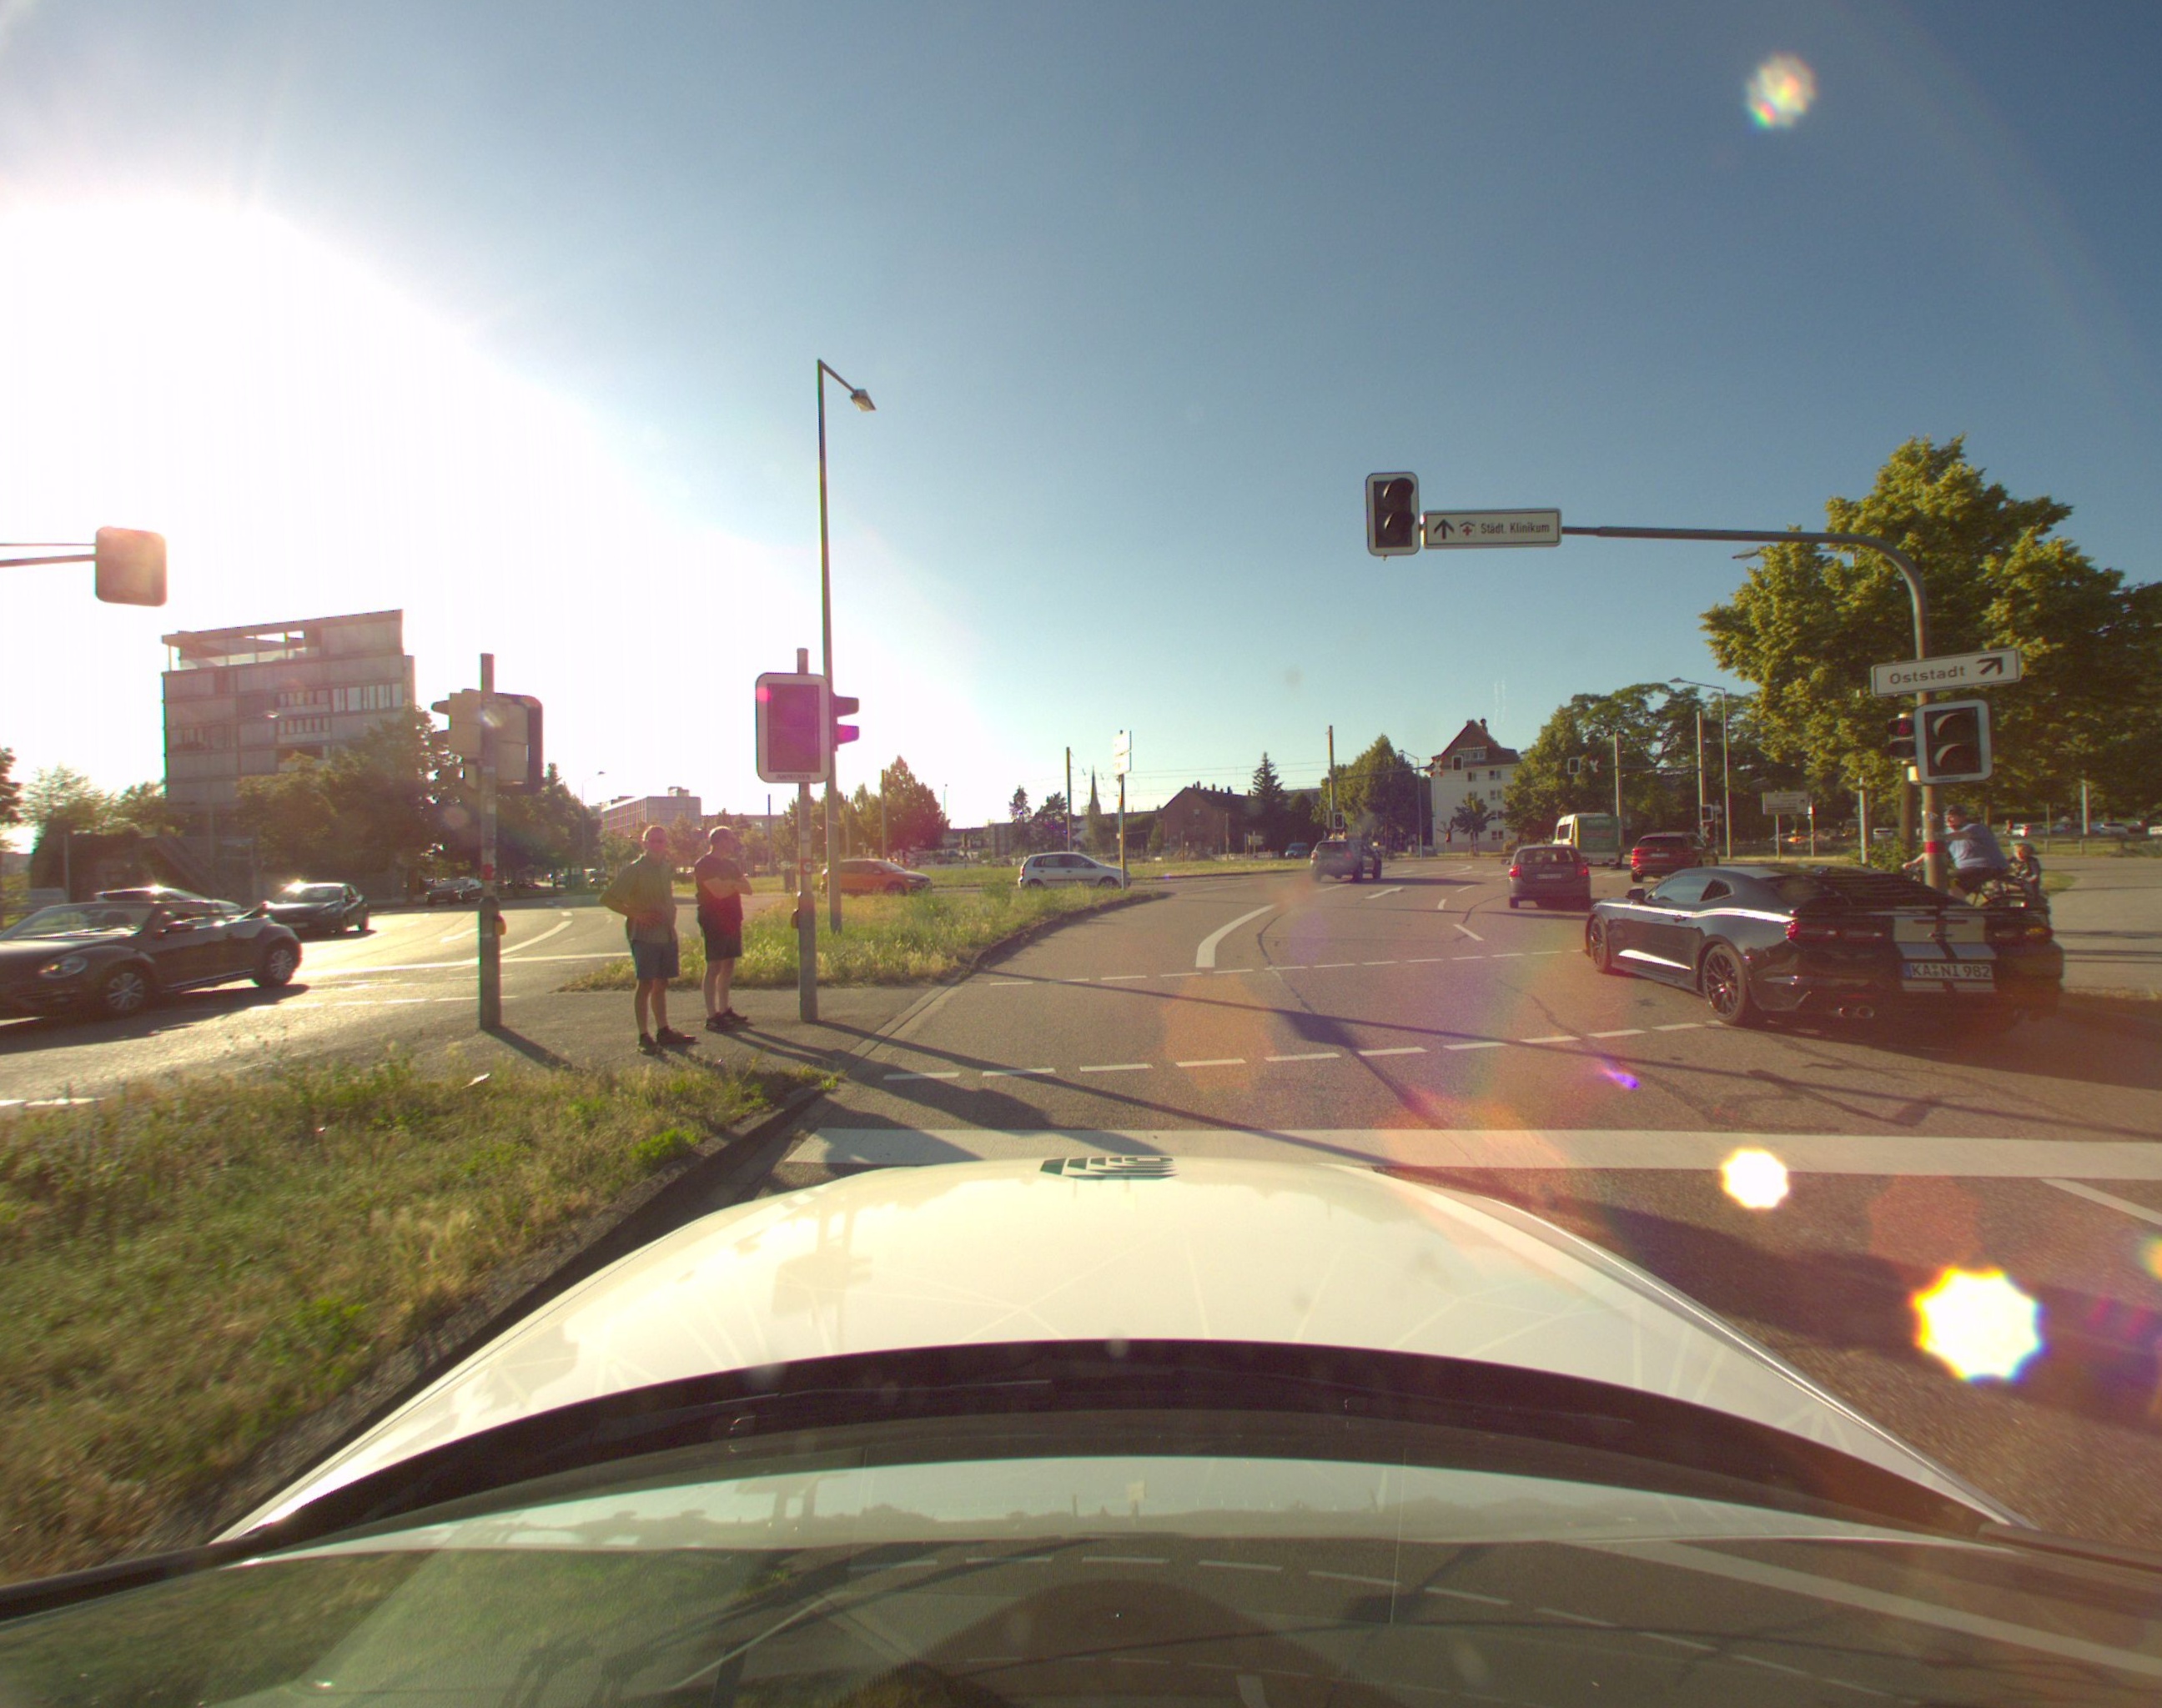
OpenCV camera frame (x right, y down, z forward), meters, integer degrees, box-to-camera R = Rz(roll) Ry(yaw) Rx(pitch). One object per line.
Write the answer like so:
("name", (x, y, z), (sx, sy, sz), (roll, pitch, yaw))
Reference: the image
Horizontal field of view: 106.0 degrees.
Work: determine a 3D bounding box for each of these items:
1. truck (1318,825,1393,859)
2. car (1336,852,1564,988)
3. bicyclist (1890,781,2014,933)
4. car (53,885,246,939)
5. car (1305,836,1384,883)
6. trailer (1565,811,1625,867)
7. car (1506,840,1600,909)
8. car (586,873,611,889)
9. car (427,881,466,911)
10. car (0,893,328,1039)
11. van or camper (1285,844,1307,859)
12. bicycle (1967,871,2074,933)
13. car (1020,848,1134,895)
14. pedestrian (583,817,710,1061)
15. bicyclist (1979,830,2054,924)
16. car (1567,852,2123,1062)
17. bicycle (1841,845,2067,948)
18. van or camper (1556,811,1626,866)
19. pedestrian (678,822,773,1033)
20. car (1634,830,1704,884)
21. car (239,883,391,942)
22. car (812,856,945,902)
("truck", (22.459, -0.947, 67.049), (2.587, 2.558, 6.213), (-2, 0, -18))
("car", (5.138, 0.807, 11.966), (1.596, 1.610, 4.001), (-2, 0, 2))
("bicyclist", (11.388, 0.051, 10.688), (0.927, 1.899, 0.605), (-4, -1, 37))
("car", (-32.253, 1.970, 28.372), (3.985, 1.508, 1.832), (-2, 0, -27))
("car", (10.266, 0.178, 31.546), (1.887, 1.660, 4.026), (-2, -1, 33))
("trailer", (23.583, -0.649, 37.306), (2.070, 2.400, 3.523), (-1, 0, 36))
("car", (11.374, 0.441, 19.613), (1.730, 1.473, 3.844), (-2, 0, 31))
("car", (-64.817, 3.602, 109.399), (2.011, 2.013, 3.951), (-2, 0, -43))
("car", (-33.970, 2.204, 43.665), (1.516, 1.453, 3.424), (-2, 0, -37))
("car", (-12.393, 1.338, 10.790), (1.669, 1.376, 4.130), (-3, 0, -13))
("van or camper", (34.032, -0.433, 128.916), (2.073, 2.154, 4.451), (-2, 0, 32))
("bicycle", (13.573, 0.681, 11.764), (1.463, 0.786, 0.437), (-3, 0, -17))
("car", (-0.087, 0.581, 28.031), (3.731, 1.434, 1.837), (-2, 0, 3))
("pedestrian", (-3.484, 0.642, 6.570), (0.481, 1.844, 0.723), (-1, 0, 22))
("bicyclist", (13.479, 0.315, 11.740), (0.650, 1.294, 0.463), (-3, 0, -17))
("car", (6.593, 0.707, 7.919), (1.841, 1.338, 4.641), (-1, 1, 13))
("bicycle", (11.370, 0.564, 10.715), (1.885, 1.244, 0.613), (-4, -1, 37))
("van or camper", (26.559, -0.786, 42.614), (2.264, 2.629, 6.621), (-1, 0, 25))
("pedestrian", (-3.257, 0.648, 7.509), (0.483, 1.844, 0.673), (-2, 0, 4))
("car", (19.169, 0.043, 26.531), (1.730, 1.620, 3.844), (-1, 1, 37))
("car", (-22.124, 1.632, 23.723), (1.671, 1.376, 3.756), (-3, 0, -17))
("car", (-7.189, 0.868, 29.028), (4.099, 1.444, 1.915), (-2, 0, 11))
